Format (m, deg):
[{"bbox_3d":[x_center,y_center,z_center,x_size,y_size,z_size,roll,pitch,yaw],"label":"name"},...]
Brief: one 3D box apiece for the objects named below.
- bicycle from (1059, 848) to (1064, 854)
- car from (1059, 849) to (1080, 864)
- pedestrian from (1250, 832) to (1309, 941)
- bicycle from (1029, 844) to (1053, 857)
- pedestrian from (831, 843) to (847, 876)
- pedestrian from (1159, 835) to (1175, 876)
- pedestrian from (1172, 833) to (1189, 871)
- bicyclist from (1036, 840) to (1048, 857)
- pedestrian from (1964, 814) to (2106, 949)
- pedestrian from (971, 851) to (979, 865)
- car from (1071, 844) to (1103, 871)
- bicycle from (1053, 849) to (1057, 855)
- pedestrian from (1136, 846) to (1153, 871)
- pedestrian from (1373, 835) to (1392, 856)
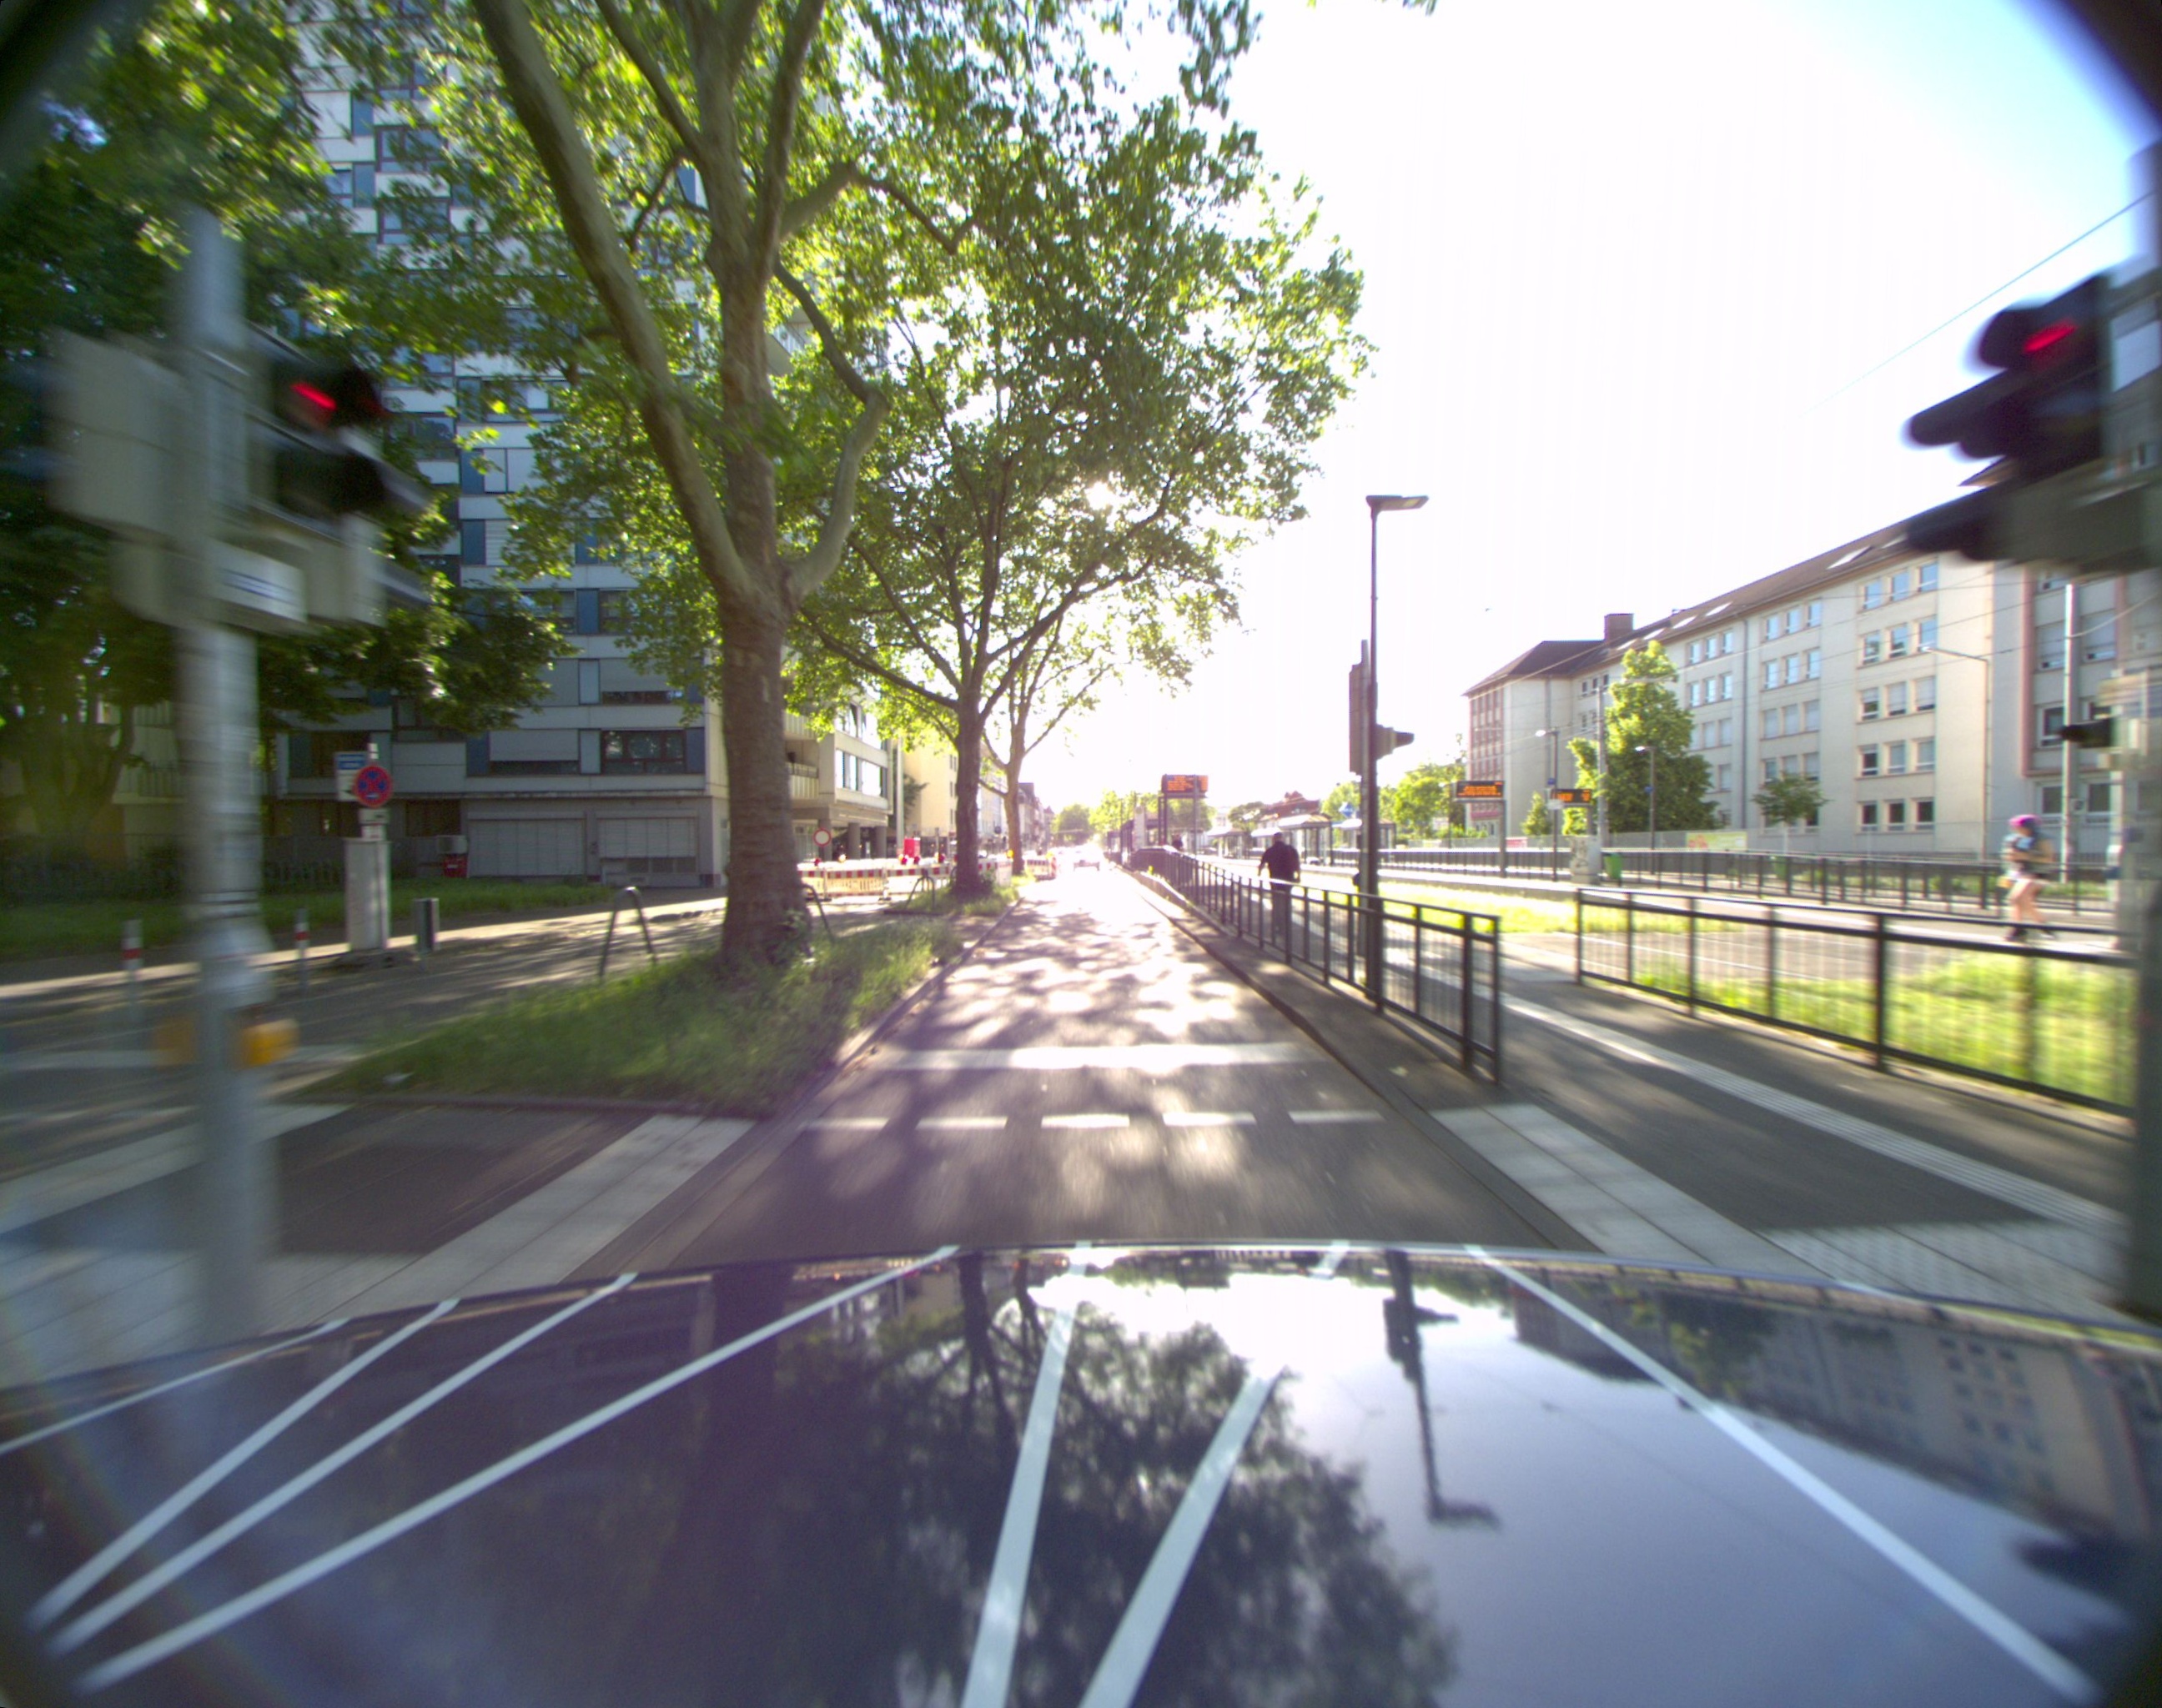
[{"bbox_3d":[-4.246,-0.626,167.038,0.693,1.209,2.298,-1,1,5],"label":"bicycle"},{"bbox_3d":[-1.312,0.274,88.732,1.998,1.595,4.273,-1,1,4],"label":"car"},{"bbox_3d":[3.175,0.505,12.216,0.714,1.671,0.772,-2,1,-1],"label":"pedestrian"},{"bbox_3d":[-4.485,-0.397,85.430,2.382,1.349,1.020,-2,1,-26],"label":"bicycle"},{"bbox_3d":[-13.779,0.308,43.258,0.691,1.805,0.665,-1,1,0],"label":"pedestrian"},{"bbox_3d":[4.262,0.088,37.669,0.669,2.002,0.716,-1,1,2],"label":"pedestrian"},{"bbox_3d":[4.689,-0.099,35.983,0.683,1.774,0.754,-2,1,2],"label":"pedestrian"},{"bbox_3d":[-4.403,-0.652,85.482,1.005,1.872,0.991,-2,1,-26],"label":"bicyclist"},{"bbox_3d":[12.727,0.357,10.167,0.955,1.726,0.730,-1,1,3],"label":"pedestrian"},{"bbox_3d":[-11.172,0.428,79.862,0.672,1.498,0.652,-1,1,1],"label":"pedestrian"},{"bbox_3d":[0.442,0.206,51.248,1.979,1.660,4.620,-2,1,2],"label":"car"},{"bbox_3d":[-5.716,-0.411,167.115,0.693,1.209,2.298,-1,1,5],"label":"bicycle"},{"bbox_3d":[3.063,0.200,36.773,0.754,1.172,0.812,-2,1,0],"label":"pedestrian"},{"bbox_3d":[20.518,-0.561,51.738,0.977,1.368,0.879,-1,1,0],"label":"pedestrian"}]
